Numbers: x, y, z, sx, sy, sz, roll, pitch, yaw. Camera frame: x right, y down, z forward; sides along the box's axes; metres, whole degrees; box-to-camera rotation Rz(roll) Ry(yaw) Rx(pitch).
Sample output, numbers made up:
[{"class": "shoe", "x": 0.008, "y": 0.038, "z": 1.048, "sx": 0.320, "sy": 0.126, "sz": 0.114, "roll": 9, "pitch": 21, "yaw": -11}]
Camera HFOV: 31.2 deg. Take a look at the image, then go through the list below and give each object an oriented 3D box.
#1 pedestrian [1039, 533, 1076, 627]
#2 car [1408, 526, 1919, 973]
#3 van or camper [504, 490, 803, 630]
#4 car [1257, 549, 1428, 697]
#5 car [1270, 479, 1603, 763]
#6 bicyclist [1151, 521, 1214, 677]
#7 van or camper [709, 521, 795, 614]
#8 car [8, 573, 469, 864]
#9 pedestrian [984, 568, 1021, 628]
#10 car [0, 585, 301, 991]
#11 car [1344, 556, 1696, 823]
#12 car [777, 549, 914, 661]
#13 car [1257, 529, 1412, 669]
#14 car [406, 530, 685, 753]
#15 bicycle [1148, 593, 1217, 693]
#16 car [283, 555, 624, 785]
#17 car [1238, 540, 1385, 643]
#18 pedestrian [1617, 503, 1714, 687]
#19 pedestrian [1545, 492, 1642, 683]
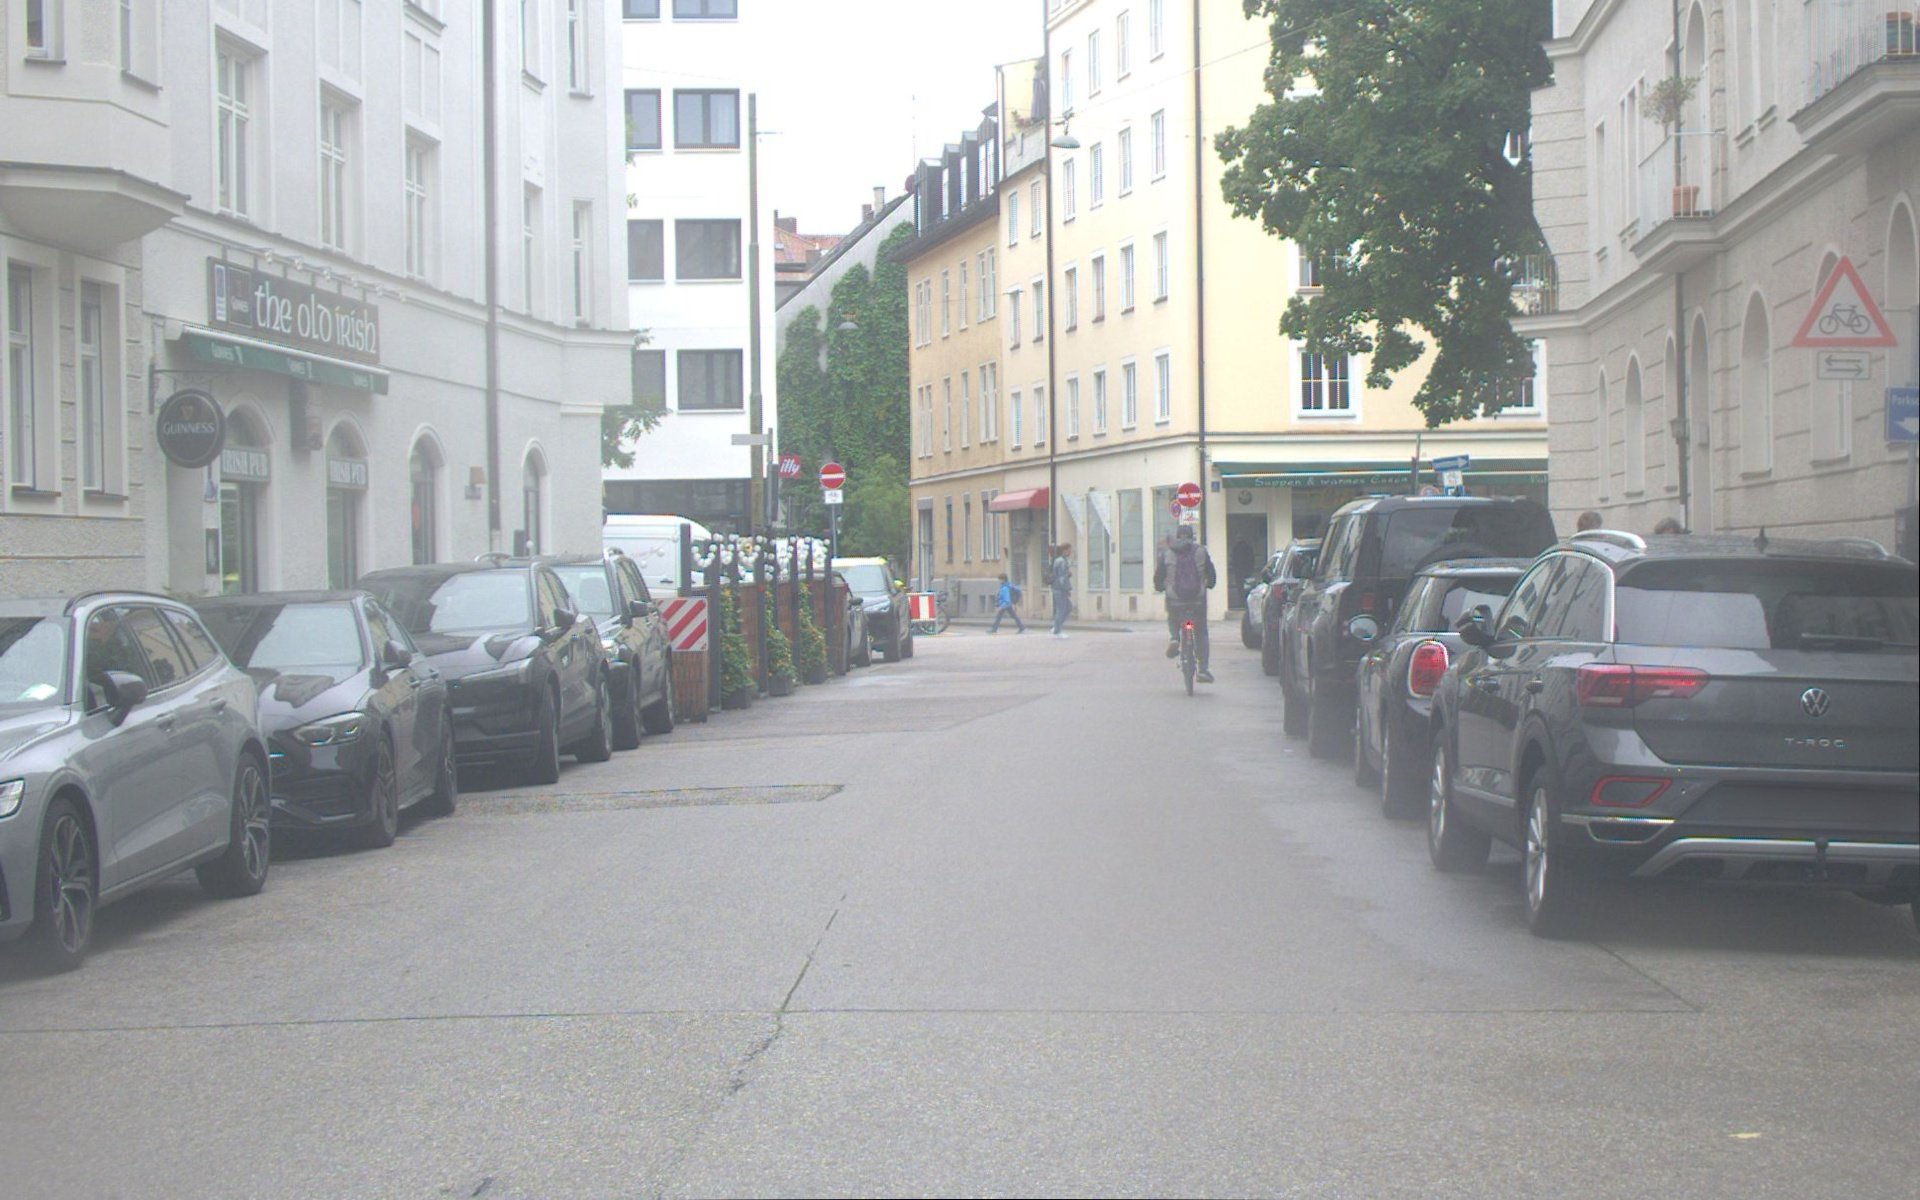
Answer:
[{"class": "pedestrian", "x": 1.747, "y": -0.362, "z": 61.648, "sx": 0.611, "sy": 1.655, "sz": 0.551, "roll": -1, "pitch": 1, "yaw": 6}, {"class": "car", "x": 2.986, "y": 0.496, "z": 14.272, "sx": 1.707, "sy": 1.582, "sz": 4.000, "roll": 1, "pitch": 1, "yaw": 0}, {"class": "van or camper", "x": -6.209, "y": -0.792, "z": 69.653, "sx": 5.903, "sy": 2.668, "sz": 1.873, "roll": -1, "pitch": -1, "yaw": -6}, {"class": "car", "x": 4.091, "y": 0.208, "z": 37.147, "sx": 1.707, "sy": 1.466, "sz": 4.200, "roll": -1, "pitch": 1, "yaw": 5}, {"class": "car", "x": 3.439, "y": 0.104, "z": 25.623, "sx": 1.911, "sy": 1.879, "sz": 4.714, "roll": 1, "pitch": 1, "yaw": 2}, {"class": "bicyclist", "x": 2.329, "y": -0.018, "z": 35.964, "sx": 0.606, "sy": 1.601, "sz": 0.757, "roll": -1, "pitch": 1, "yaw": 6}, {"class": "van or camper", "x": -5.941, "y": -0.935, "z": 97.622, "sx": 1.993, "sy": 2.531, "sz": 4.761, "roll": -1, "pitch": 1, "yaw": -8}, {"class": "car", "x": -4.017, "y": 0.592, "z": 19.868, "sx": 1.810, "sy": 1.380, "sz": 4.444, "roll": -2, "pitch": 1, "yaw": -2}, {"class": "pedestrian", "x": 0.926, "y": -0.045, "z": 74.721, "sx": 0.699, "sy": 1.266, "sz": 0.651, "roll": -2, "pitch": 1, "yaw": 6}, {"class": "car", "x": -4.211, "y": 0.712, "z": 14.492, "sx": 1.794, "sy": 1.415, "sz": 4.510, "roll": -4, "pitch": 0, "yaw": 2}, {"class": "car", "x": 3.178, "y": 0.451, "z": 20.093, "sx": 1.664, "sy": 1.390, "sz": 3.581, "roll": 1, "pitch": 1, "yaw": 4}, {"class": "car", "x": -1.726, "y": 0.053, "z": 53.146, "sx": 1.676, "sy": 1.591, "sz": 3.945, "roll": -3, "pitch": 0, "yaw": 4}, {"class": "car", "x": 4.589, "y": -0.049, "z": 42.577, "sx": 1.777, "sy": 1.630, "sz": 4.374, "roll": 0, "pitch": 1, "yaw": 5}, {"class": "car", "x": -3.488, "y": 0.290, "z": 29.639, "sx": 1.746, "sy": 1.667, "sz": 4.276, "roll": -4, "pitch": 1, "yaw": 1}, {"class": "bicycle", "x": 2.335, "y": 0.439, "z": 35.966, "sx": 0.639, "sy": 1.001, "sz": 1.574, "roll": -1, "pitch": 1, "yaw": 6}, {"class": "car", "x": -3.559, "y": 0.438, "z": 24.869, "sx": 1.742, "sy": 1.481, "sz": 4.181, "roll": -1, "pitch": 1, "yaw": 1}, {"class": "car", "x": 5.320, "y": -0.149, "z": 52.446, "sx": 1.750, "sy": 1.491, "sz": 3.910, "roll": -1, "pitch": 1, "yaw": -1}, {"class": "pedestrian", "x": 6.591, "y": -0.054, "z": 32.123, "sx": 0.679, "sy": 1.668, "sz": 0.654, "roll": -3, "pitch": 1, "yaw": 0}, {"class": "pedestrian", "x": 5.820, "y": -0.119, "z": 31.617, "sx": 0.703, "sy": 1.722, "sz": 0.703, "roll": -2, "pitch": 1, "yaw": -1}]
